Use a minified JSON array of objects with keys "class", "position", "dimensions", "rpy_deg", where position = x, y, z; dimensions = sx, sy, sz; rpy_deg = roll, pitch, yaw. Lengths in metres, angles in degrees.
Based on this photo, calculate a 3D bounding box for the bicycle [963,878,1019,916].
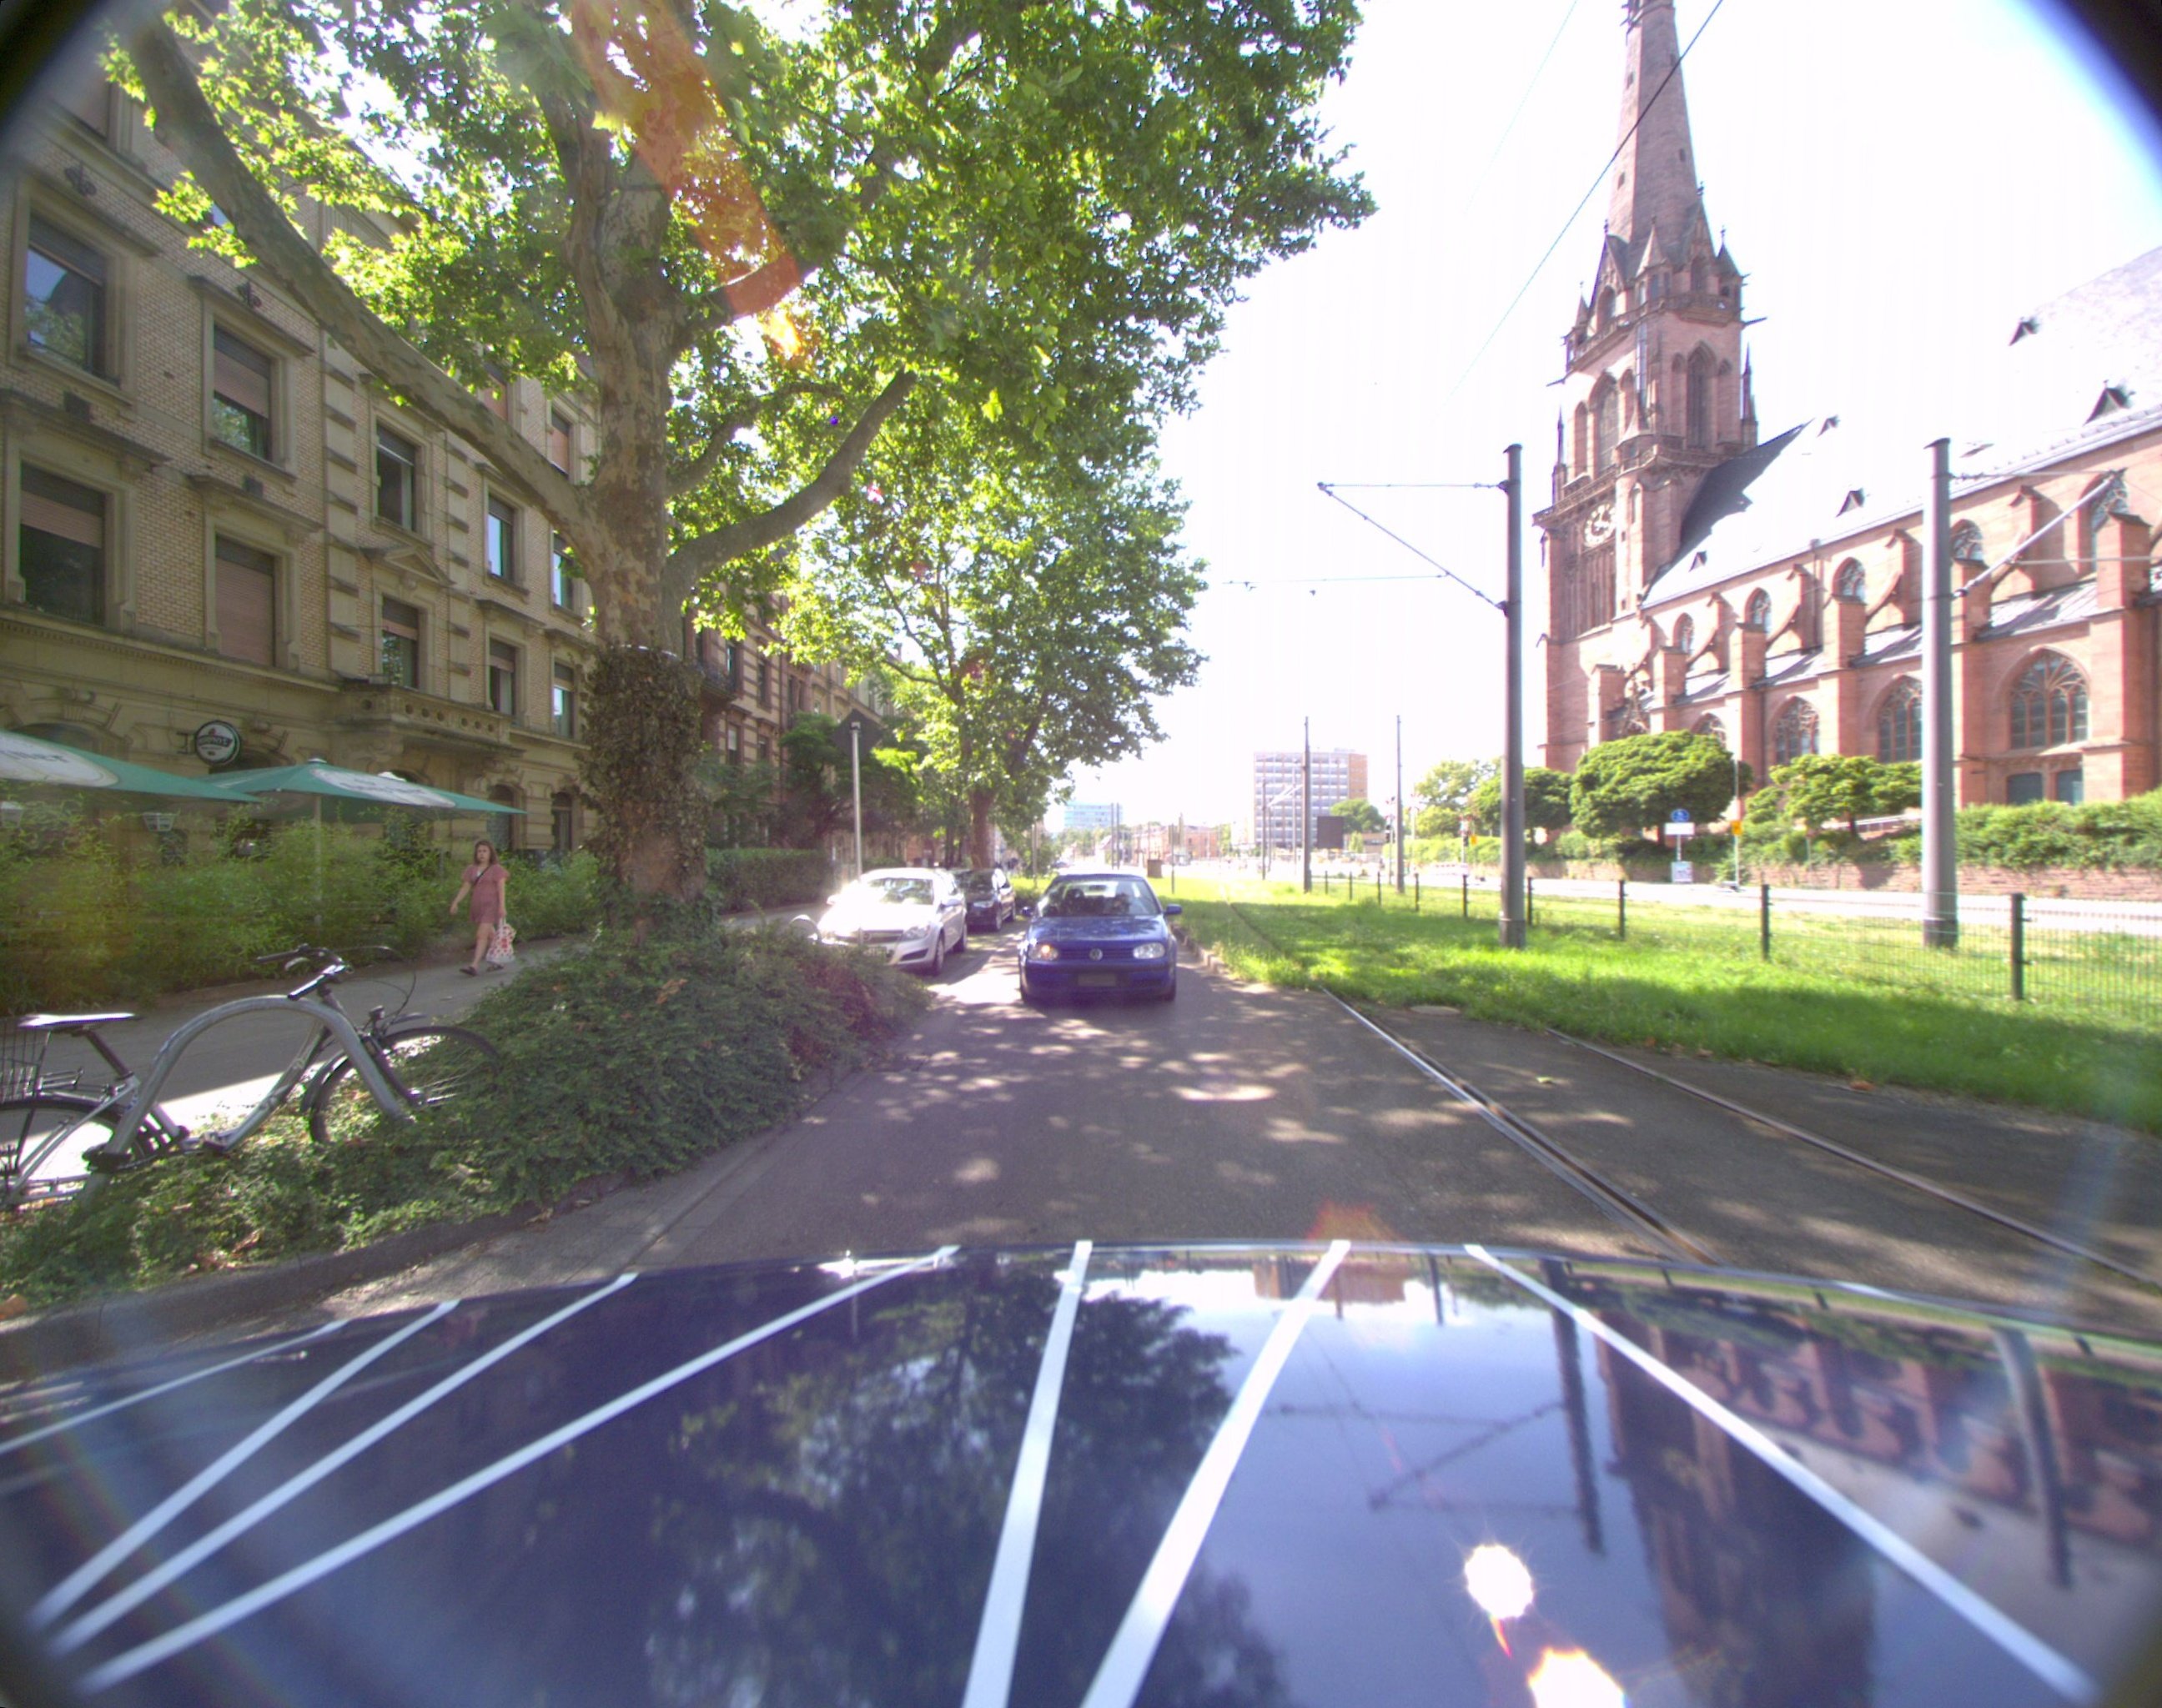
[{"class":"bicycle","position":[-2.729,1.284,23.106],"dimensions":[1.641,1.082,0.471],"rpy_deg":[0,0,-32]}]

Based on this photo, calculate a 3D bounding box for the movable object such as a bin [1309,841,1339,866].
[{"class":"movable object such as a bin","position":[37.631,-0.032,117.803],"dimensions":[3.341,3.858,2.932],"rpy_deg":[0,0,-33]}]

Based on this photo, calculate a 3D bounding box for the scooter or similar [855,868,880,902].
[{"class":"scooter or similar","position":[-8.283,1.180,29.510],"dimensions":[0.583,1.275,1.145],"rpy_deg":[0,0,3]}]

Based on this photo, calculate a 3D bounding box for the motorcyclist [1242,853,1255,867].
[{"class":"motorcyclist","position":[22.155,0.784,100.717],"dimensions":[1.334,1.919,1.106],"rpy_deg":[-1,0,-15]}]

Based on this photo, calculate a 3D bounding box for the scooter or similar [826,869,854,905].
[{"class":"scooter or similar","position":[-8.480,1.157,26.789],"dimensions":[0.583,1.240,1.145],"rpy_deg":[0,0,1]}]

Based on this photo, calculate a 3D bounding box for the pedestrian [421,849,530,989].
[{"class":"pedestrian","position":[-8.031,0.828,10.118],"dimensions":[0.738,1.775,0.852],"rpy_deg":[1,0,0]}]

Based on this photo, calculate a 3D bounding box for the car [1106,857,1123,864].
[{"class":"car","position":[8.668,1.700,196.366],"dimensions":[3.959,1.662,1.827],"rpy_deg":[-1,0,-22]}]

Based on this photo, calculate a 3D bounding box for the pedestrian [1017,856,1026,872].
[{"class":"pedestrian","position":[-6.506,1.065,83.067],"dimensions":[0.797,1.708,0.968],"rpy_deg":[-1,0,0]}]

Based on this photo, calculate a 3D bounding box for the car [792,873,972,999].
[{"class":"car","position":[-2.864,1.110,11.982],"dimensions":[1.838,1.499,4.491],"rpy_deg":[0,0,-3]}]

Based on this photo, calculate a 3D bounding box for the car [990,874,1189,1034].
[{"class":"car","position":[0.068,1.017,9.379],"dimensions":[1.887,1.401,4.093],"rpy_deg":[-1,0,-1]}]

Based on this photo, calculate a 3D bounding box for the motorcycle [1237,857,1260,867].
[{"class":"motorcycle","position":[22.170,1.010,100.708],"dimensions":[1.245,1.331,3.932],"rpy_deg":[-1,0,-14]}]

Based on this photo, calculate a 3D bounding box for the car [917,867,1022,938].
[{"class":"car","position":[-2.632,1.113,19.038],"dimensions":[1.838,1.499,4.644],"rpy_deg":[0,0,1]}]

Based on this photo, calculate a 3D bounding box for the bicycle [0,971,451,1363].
[{"class":"bicycle","position":[-3.522,1.121,2.929],"dimensions":[0.421,1.099,1.620],"rpy_deg":[0,0,31]}]

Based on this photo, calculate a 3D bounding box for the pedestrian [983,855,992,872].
[{"class":"pedestrian","position":[-9.806,0.985,80.041],"dimensions":[0.797,1.708,0.968],"rpy_deg":[-1,0,0]}]
